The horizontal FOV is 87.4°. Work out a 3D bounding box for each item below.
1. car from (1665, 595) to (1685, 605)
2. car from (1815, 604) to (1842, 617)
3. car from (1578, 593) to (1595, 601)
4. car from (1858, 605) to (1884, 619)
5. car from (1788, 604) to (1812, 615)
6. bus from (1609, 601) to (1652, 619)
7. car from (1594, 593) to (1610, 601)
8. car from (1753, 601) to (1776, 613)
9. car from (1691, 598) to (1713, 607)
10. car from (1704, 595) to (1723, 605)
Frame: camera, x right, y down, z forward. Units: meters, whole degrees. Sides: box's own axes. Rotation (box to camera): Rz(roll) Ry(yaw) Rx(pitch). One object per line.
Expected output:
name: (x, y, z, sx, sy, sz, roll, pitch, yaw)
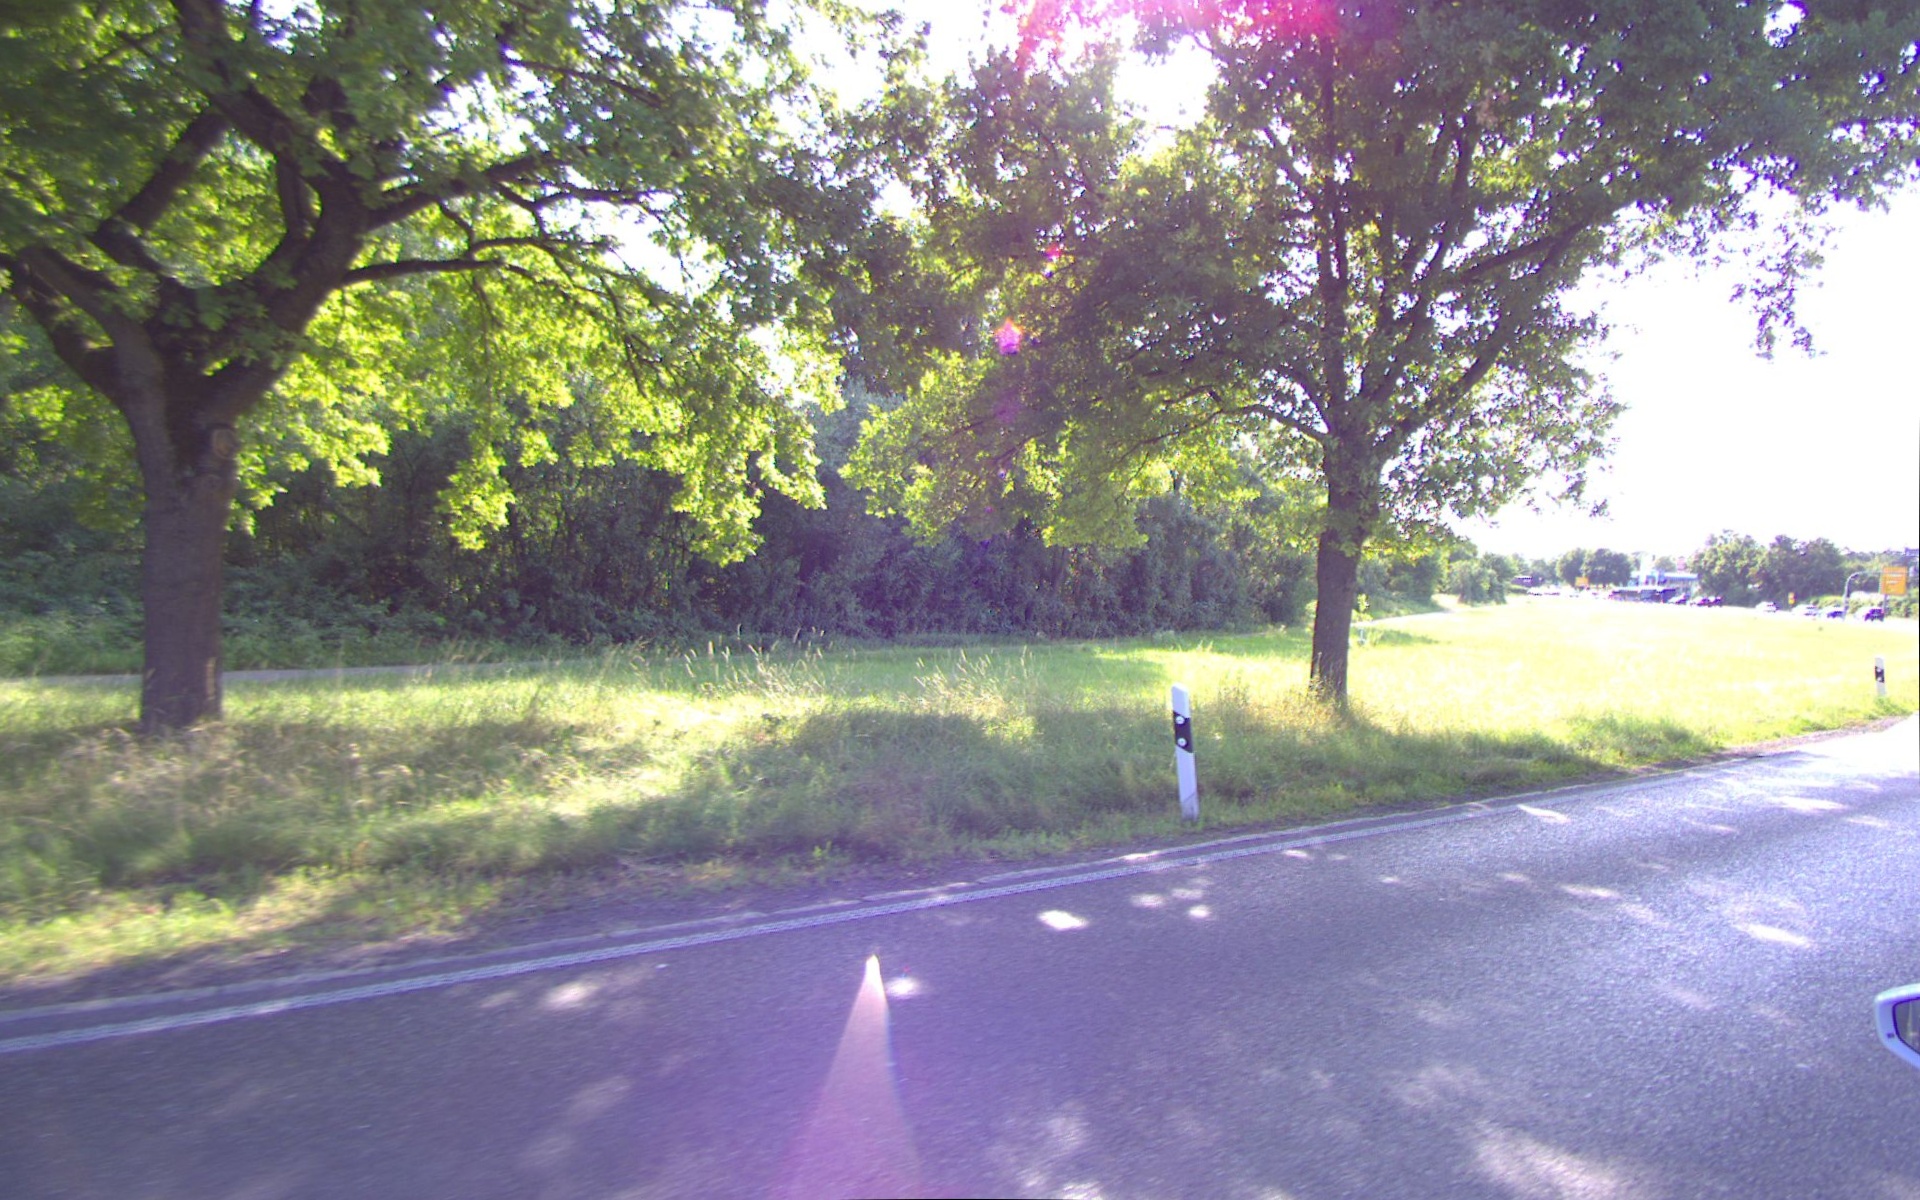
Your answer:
car: (133.259, -0.015, 187.191, 2.051, 1.621, 3.999, 2, 1, 20)
car: (115.818, 1.402, 133.926, 1.652, 1.579, 3.869, 2, 0, 25)
car: (138.922, -0.667, 222.771, 1.850, 1.621, 4.002, 2, 1, 13)
car: (111.723, 1.478, 123.241, 1.497, 1.678, 3.866, 2, 0, 30)
car: (119.858, 1.386, 143.302, 1.652, 1.579, 3.869, 2, 0, 25)
bus: (126.409, 1.832, 189.666, 2.746, 3.224, 12.133, 2, 0, 14)
car: (138.253, -0.716, 216.280, 1.850, 1.621, 4.000, 2, 1, 18)
car: (125.749, 1.079, 156.993, 1.945, 1.678, 3.869, 2, 0, 25)
car: (130.996, 0.439, 177.280, 2.051, 1.621, 3.999, 2, 1, 20)
car: (135.078, 0.034, 180.163, 1.699, 1.678, 3.872, 2, 0, 20)
